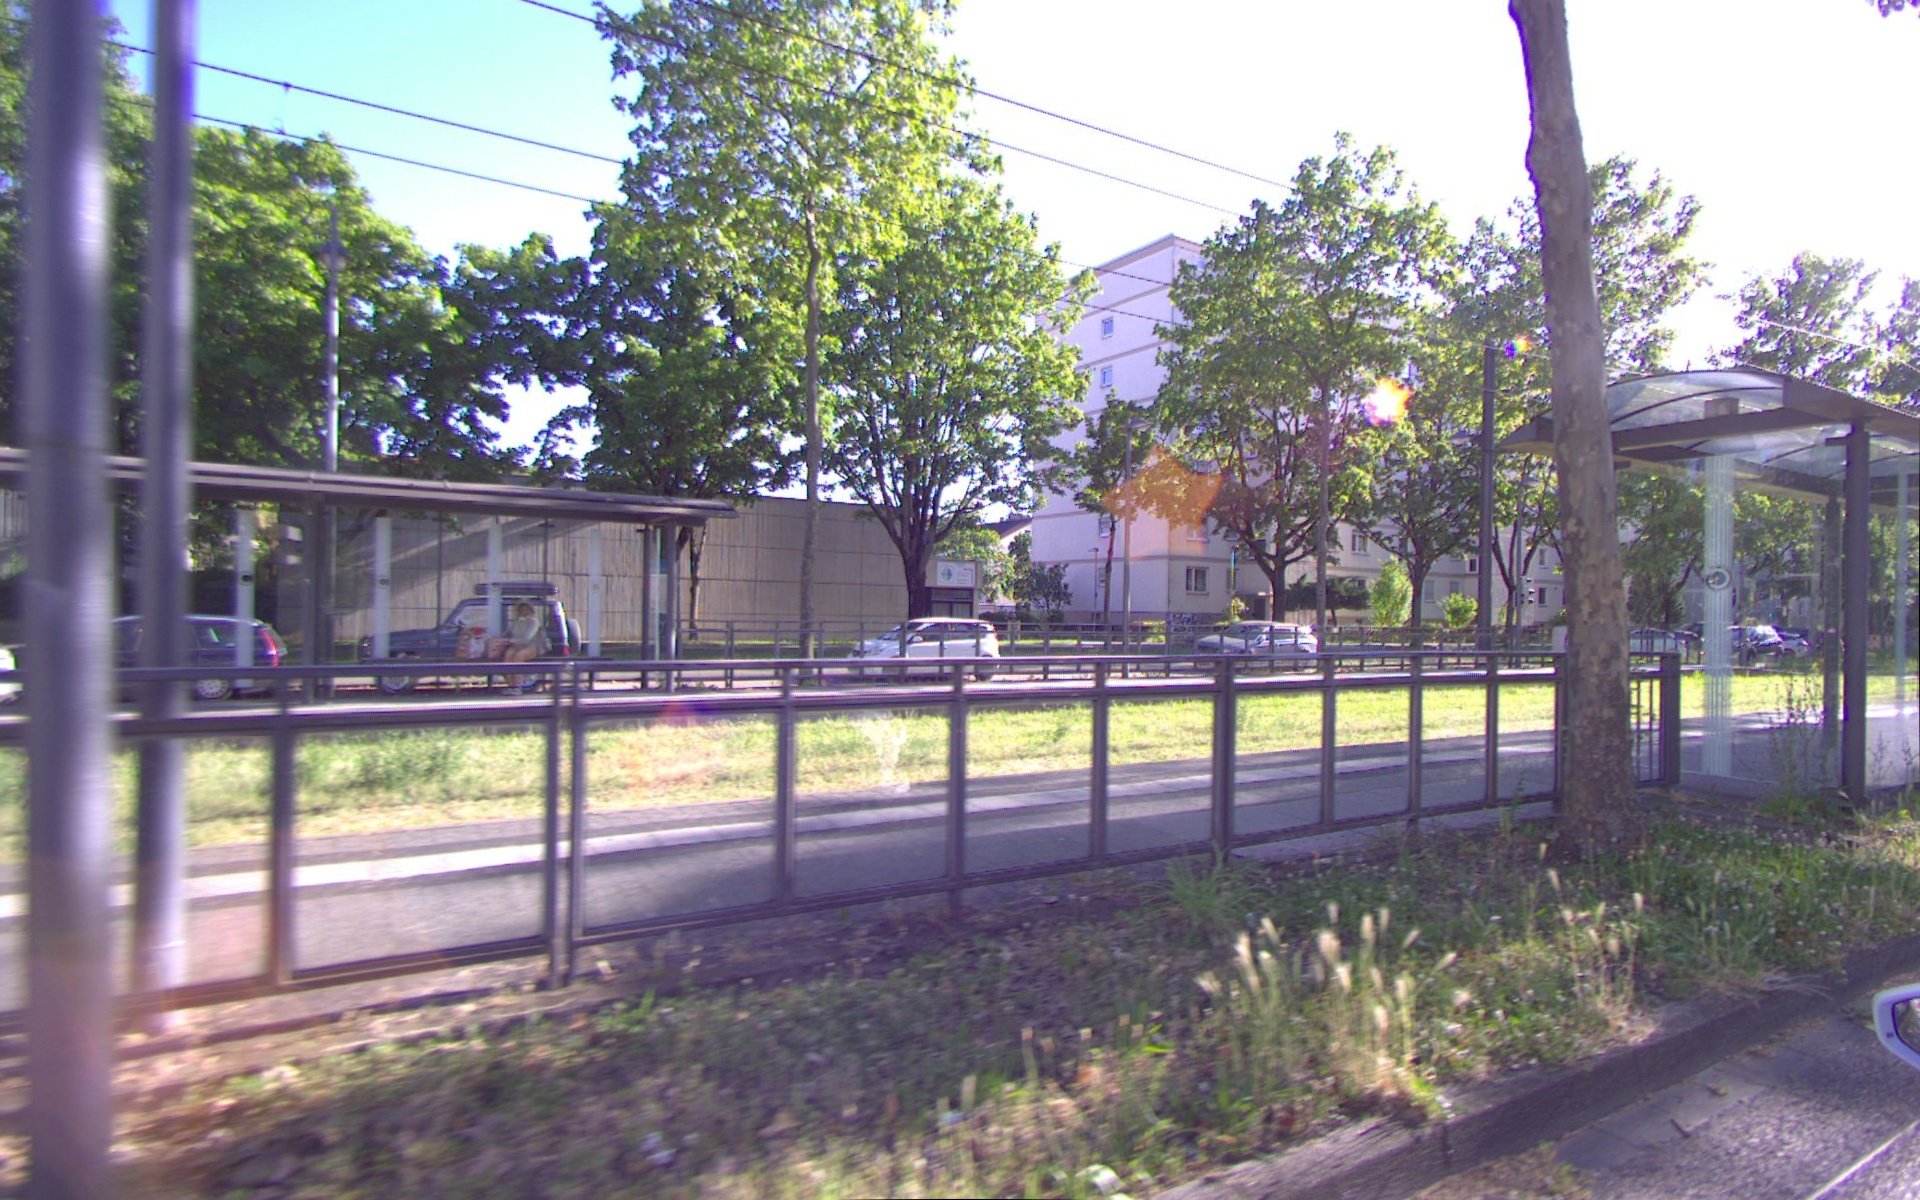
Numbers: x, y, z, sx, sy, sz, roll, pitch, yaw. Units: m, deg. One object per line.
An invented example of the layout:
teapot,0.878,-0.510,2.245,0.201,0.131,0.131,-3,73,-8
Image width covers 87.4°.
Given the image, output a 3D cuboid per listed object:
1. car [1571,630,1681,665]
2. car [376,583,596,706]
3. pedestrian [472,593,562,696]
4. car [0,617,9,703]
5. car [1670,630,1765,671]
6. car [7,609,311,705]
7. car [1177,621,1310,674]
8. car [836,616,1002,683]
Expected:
car,30.515,2.176,46.121,3.747,1.454,1.842,1,-1,10
car,-9.646,0.867,20.502,3.889,2.292,1.705,1,-1,-32
pedestrian,-5.752,0.560,13.076,0.784,1.277,0.840,2,1,-2
car,-15.462,0.855,13.732,3.339,1.258,1.256,1,-1,-32
car,31.329,2.059,41.517,3.885,1.566,1.706,1,-1,-29
car,-13.885,0.958,17.739,3.975,1.508,1.585,1,-1,-32
car,9.086,1.503,32.133,4.150,1.566,1.706,1,-1,-30
car,-1.036,1.232,25.663,3.884,1.566,1.707,1,-1,-28
